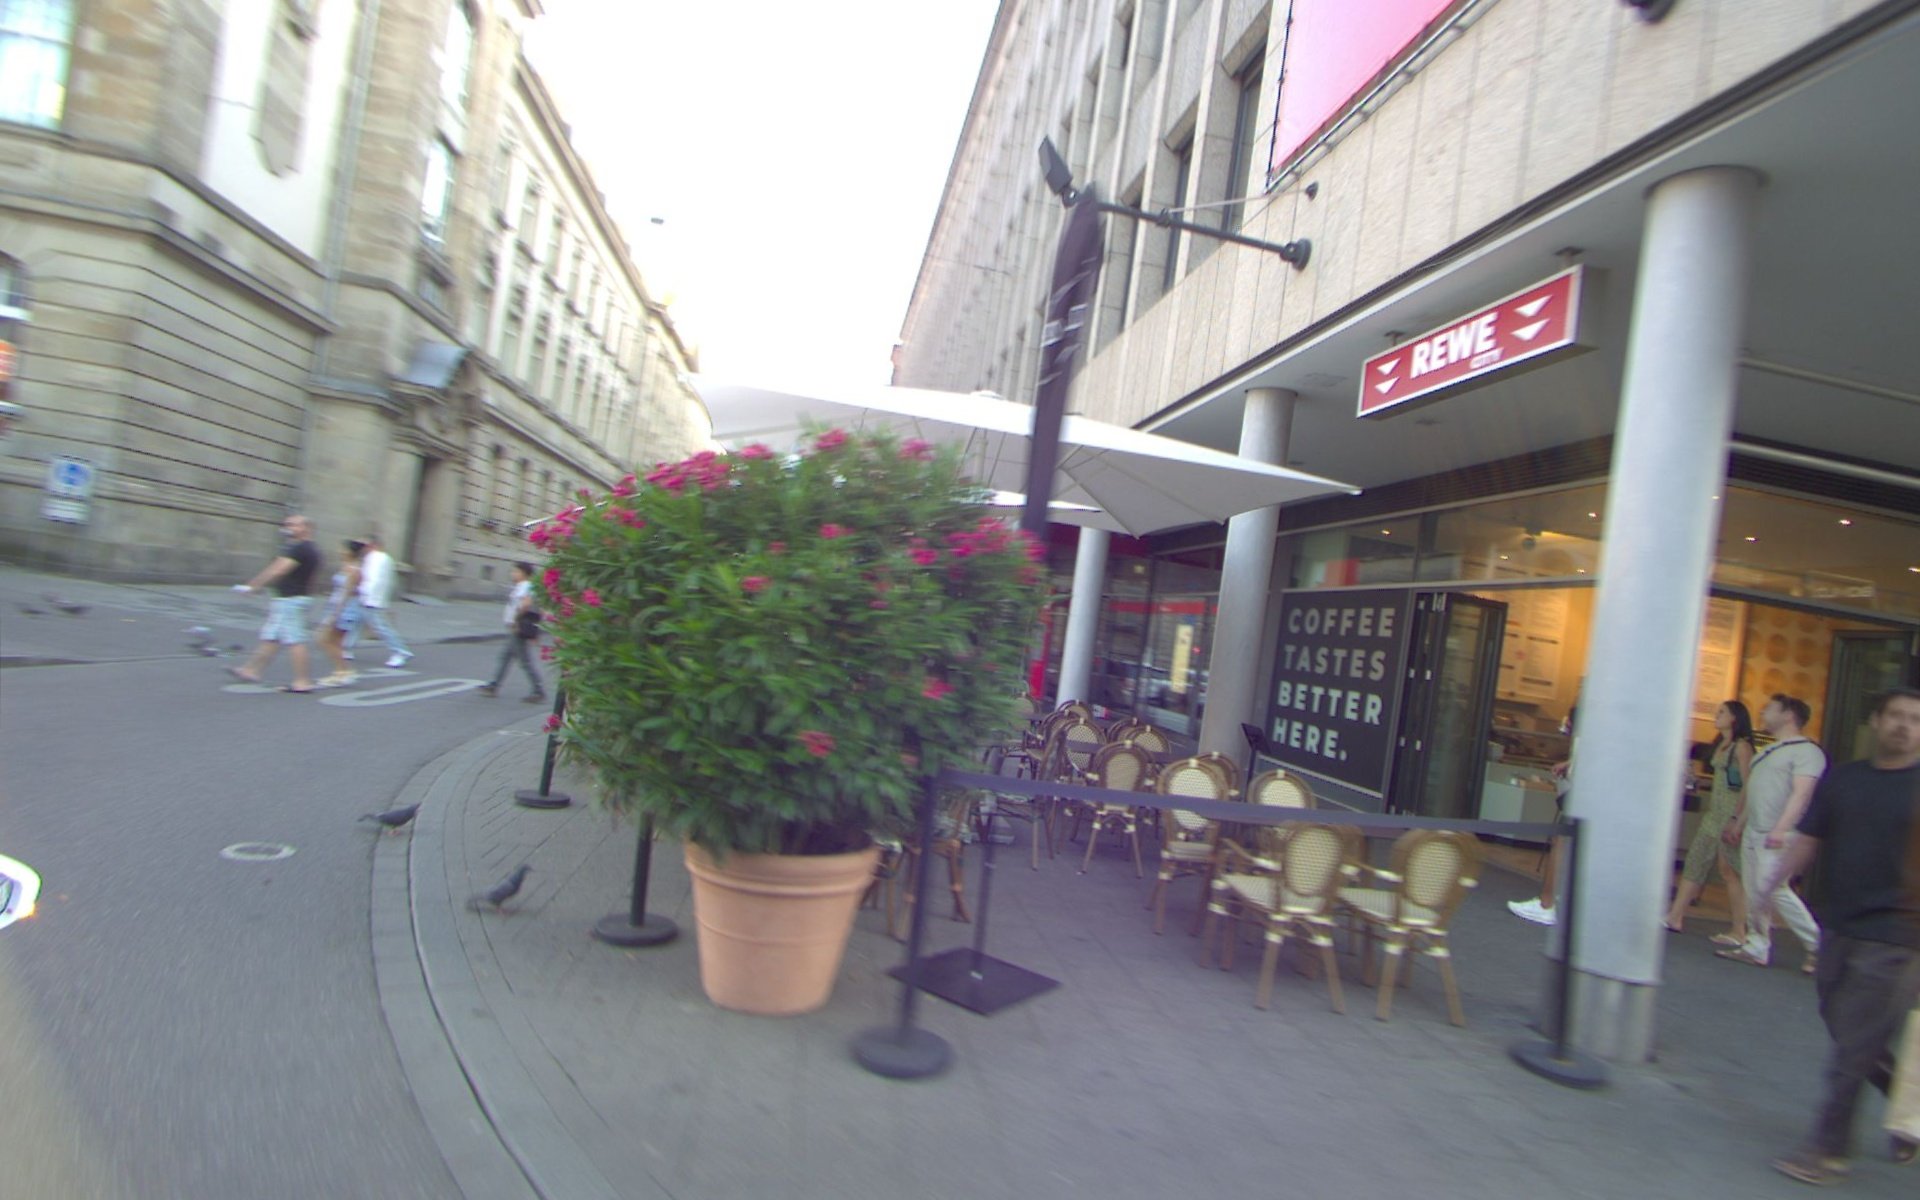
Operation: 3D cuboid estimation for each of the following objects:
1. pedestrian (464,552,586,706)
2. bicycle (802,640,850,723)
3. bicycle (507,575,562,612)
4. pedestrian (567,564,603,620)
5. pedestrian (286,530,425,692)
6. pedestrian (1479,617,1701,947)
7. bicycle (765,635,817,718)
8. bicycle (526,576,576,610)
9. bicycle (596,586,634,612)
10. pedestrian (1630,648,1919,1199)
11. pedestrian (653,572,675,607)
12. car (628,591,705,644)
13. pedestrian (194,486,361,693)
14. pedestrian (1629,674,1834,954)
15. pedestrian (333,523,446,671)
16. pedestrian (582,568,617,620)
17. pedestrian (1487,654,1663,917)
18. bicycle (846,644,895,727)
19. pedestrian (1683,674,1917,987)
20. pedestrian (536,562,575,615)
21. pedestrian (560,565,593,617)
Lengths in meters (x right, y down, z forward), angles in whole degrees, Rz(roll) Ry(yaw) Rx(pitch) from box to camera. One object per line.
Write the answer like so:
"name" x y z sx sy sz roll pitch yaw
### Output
"pedestrian" -5.118 0.352 11.886 0.855 1.665 0.733 7 -2 9
"bicycle" -1.952 1.154 14.736 0.551 1.053 1.684 7 -1 -7
"bicycle" -15.786 -0.244 37.345 1.655 1.053 0.487 10 -1 -3
"pedestrian" -13.075 -0.272 35.131 0.689 1.831 0.973 11 -2 -10
"pedestrian" -6.647 0.136 11.120 0.859 1.598 0.806 9 -2 -8
"pedestrian" 4.251 1.193 6.841 0.769 2.038 0.688 8 0 -7
"bicycle" -2.441 1.077 14.646 0.551 1.053 1.684 7 -1 -7
"bicycle" -16.295 -0.285 40.086 1.666 1.052 0.484 11 -2 -25
"bicycle" -17.806 -0.060 51.976 1.658 1.053 0.486 11 -1 -9
"pedestrian" 3.135 1.108 3.464 0.907 1.739 0.765 8 0 -7
"pedestrian" -16.252 -0.552 55.262 0.794 1.770 0.809 12 -2 -10
"car" -9.647 0.596 33.345 1.745 1.425 4.049 8 -2 -9
"pedestrian" -6.764 -0.079 10.029 0.859 1.859 0.806 9 -2 -8
"pedestrian" 5.516 1.499 7.230 0.707 1.808 0.664 8 0 -7
"pedestrian" -7.912 -0.036 14.007 0.861 1.859 0.865 11 -1 -13
"pedestrian" -13.307 -0.216 37.146 0.777 1.770 0.720 12 -1 -10
"pedestrian" 4.800 1.419 7.899 0.706 1.870 0.665 8 0 -2
"bicycle" -1.340 1.227 14.831 0.551 1.053 1.684 7 -1 -7
"pedestrian" 5.411 1.452 6.521 0.707 1.808 0.664 8 0 -7
"pedestrian" -14.041 -0.385 34.944 0.787 1.693 0.973 12 -2 -10
"pedestrian" -14.005 -0.338 36.759 0.680 1.770 0.720 11 -1 -10
